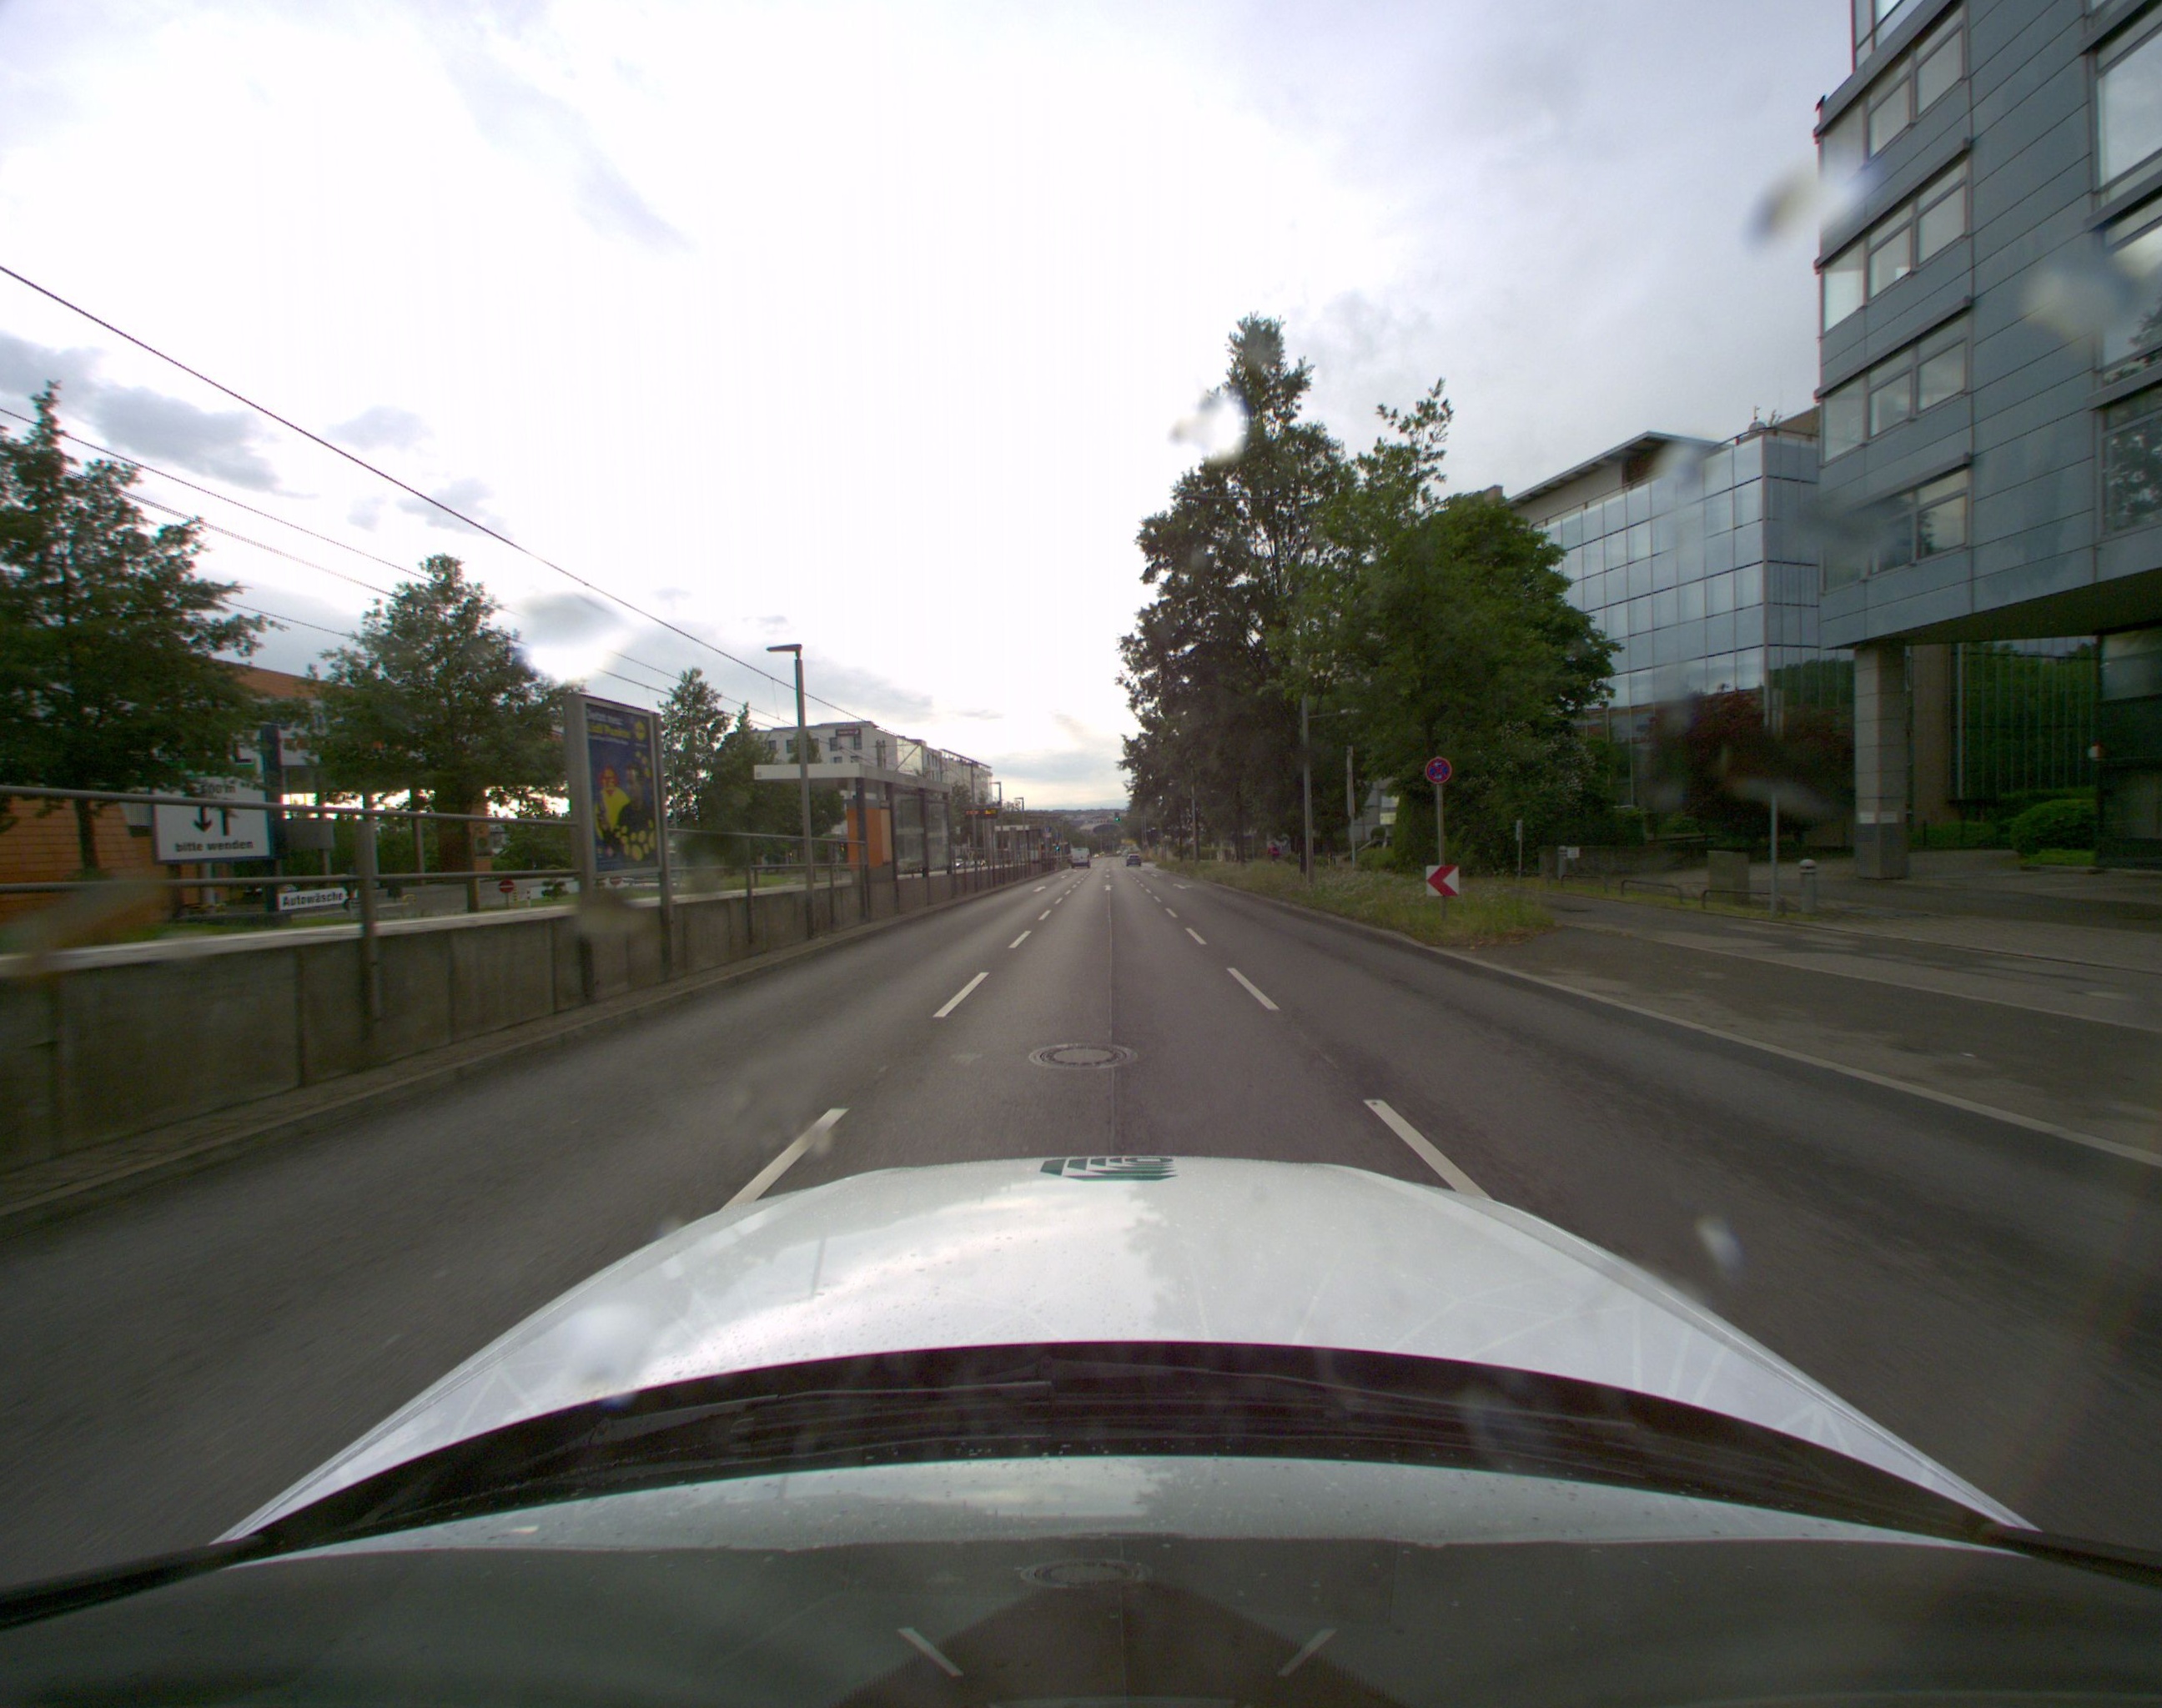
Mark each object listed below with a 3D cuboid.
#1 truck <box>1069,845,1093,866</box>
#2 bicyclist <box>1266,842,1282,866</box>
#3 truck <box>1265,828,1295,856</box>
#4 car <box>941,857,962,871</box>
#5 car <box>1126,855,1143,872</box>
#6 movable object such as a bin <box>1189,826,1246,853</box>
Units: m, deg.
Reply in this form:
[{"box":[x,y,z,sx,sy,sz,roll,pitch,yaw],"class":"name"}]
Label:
[{"box":[0.059,0.202,92.377,2.350,2.262,5.310,-1,0,3],"class":"truck"},{"box":[10.695,0.011,45.087,0.653,1.288,1.220,0,0,2],"class":"bicyclist"},{"box":[18.364,-1.071,75.257,1.741,2.518,3.997,-1,0,-1],"class":"truck"},{"box":[-18.012,1.351,113.350,1.986,1.774,4.391,-2,0,2],"class":"car"},{"box":[6.504,1.092,98.835,1.984,2.014,3.940,-1,0,5],"class":"car"},{"box":[30.592,-3.223,183.164,12.093,5.261,3.792,-3,-1,2],"class":"movable object such as a bin"}]
